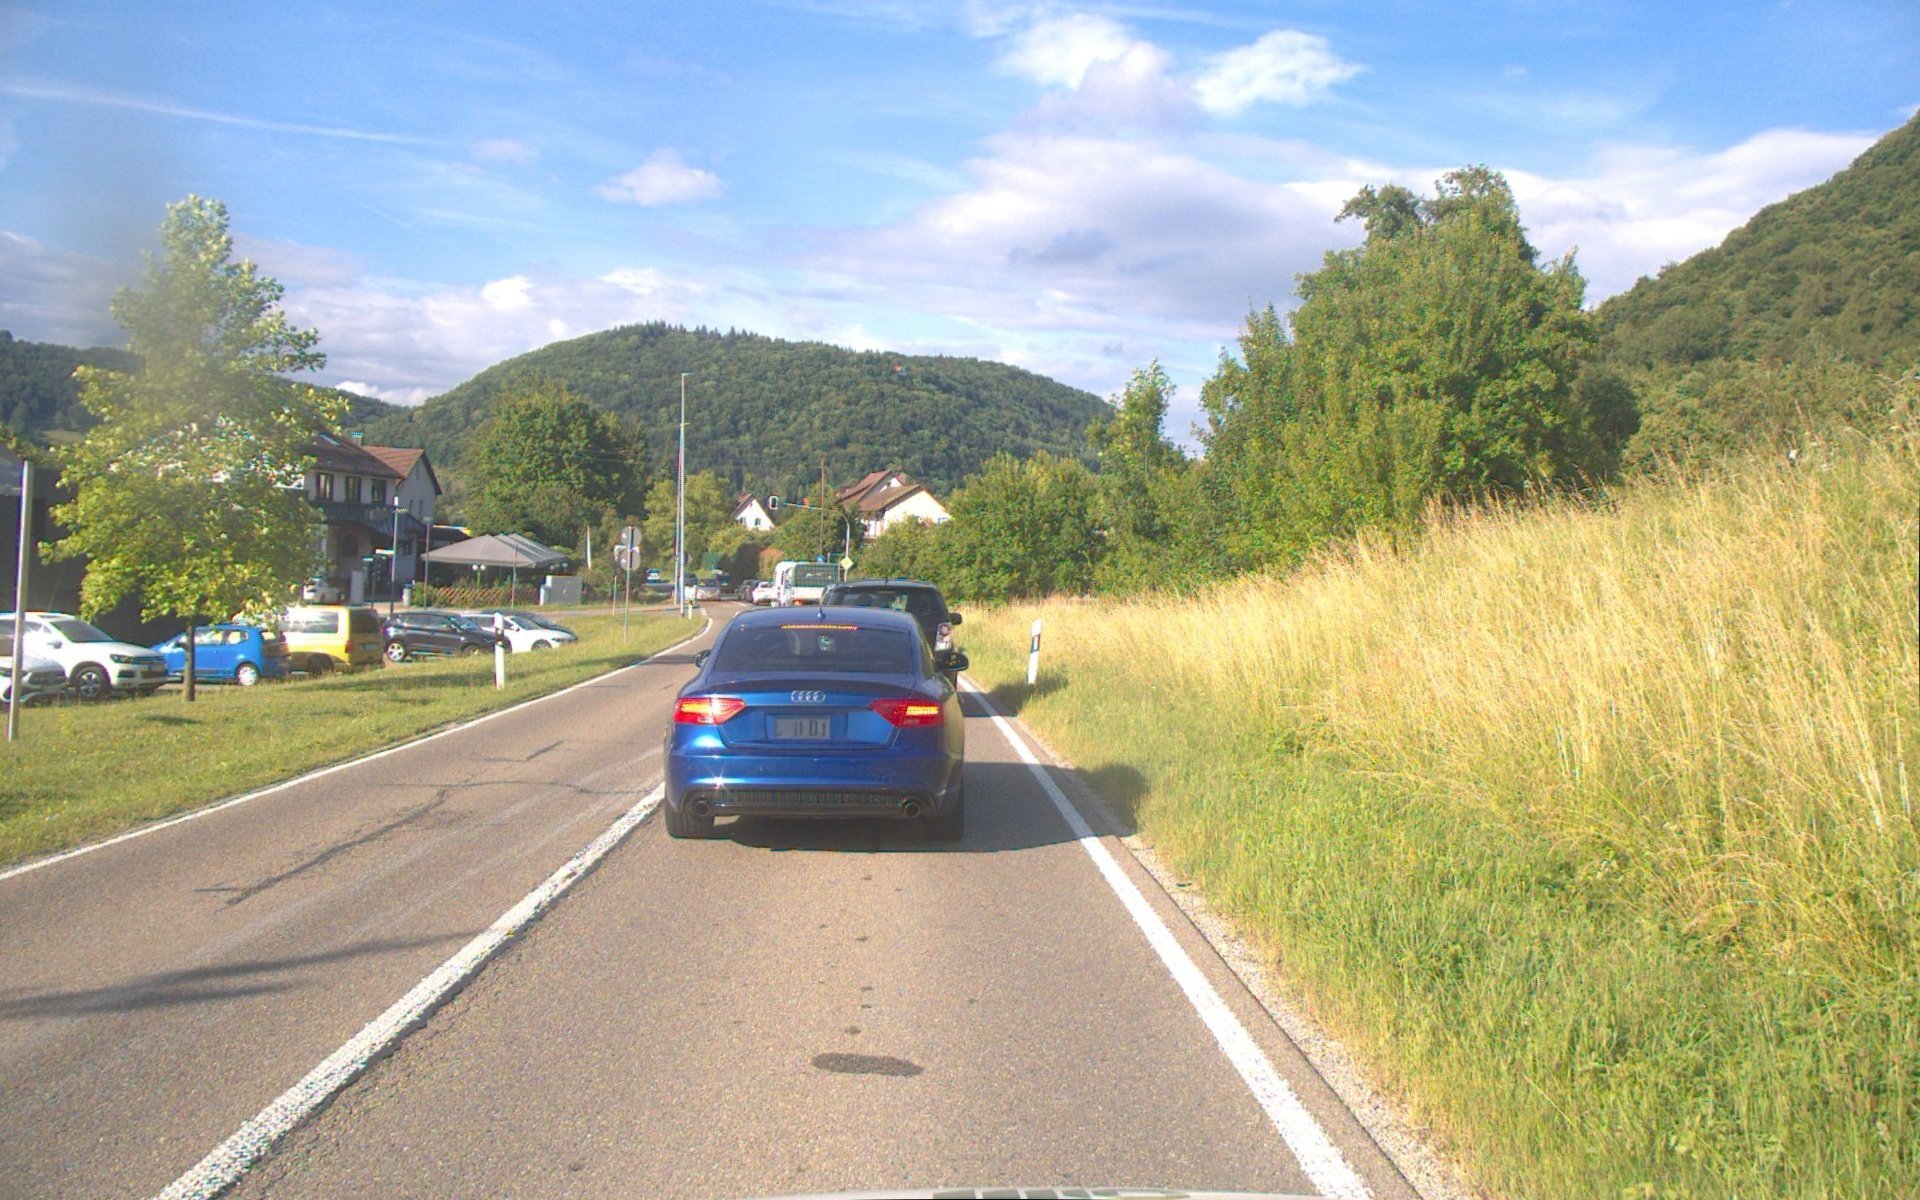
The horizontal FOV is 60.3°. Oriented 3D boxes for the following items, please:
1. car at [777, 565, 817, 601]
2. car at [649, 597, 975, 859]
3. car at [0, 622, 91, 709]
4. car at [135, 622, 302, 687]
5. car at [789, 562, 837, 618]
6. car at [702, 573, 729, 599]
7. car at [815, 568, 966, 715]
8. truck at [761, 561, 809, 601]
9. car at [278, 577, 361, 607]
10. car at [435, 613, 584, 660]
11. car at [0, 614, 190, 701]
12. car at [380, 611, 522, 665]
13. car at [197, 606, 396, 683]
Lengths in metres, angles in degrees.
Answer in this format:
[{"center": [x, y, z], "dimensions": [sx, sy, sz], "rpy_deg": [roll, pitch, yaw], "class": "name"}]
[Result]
[{"center": [-8.032, -0.820, 81.332], "dimensions": [1.714, 1.668, 3.992], "rpy_deg": [1, 0, -9], "class": "car"}, {"center": [-0.819, 0.702, 10.964], "dimensions": [1.759, 1.412, 3.999], "rpy_deg": [0, 0, -1], "class": "car"}, {"center": [-19.732, 1.232, 32.353], "dimensions": [4.442, 1.582, 2.001], "rpy_deg": [1, 0, 7], "class": "car"}, {"center": [-18.549, 1.345, 41.475], "dimensions": [3.420, 1.498, 1.634], "rpy_deg": [1, 0, 5], "class": "car"}, {"center": [-6.192, -0.410, 69.189], "dimensions": [1.714, 2.234, 3.992], "rpy_deg": [1, 0, -9], "class": "car"}, {"center": [-16.557, -0.954, 111.927], "dimensions": [1.703, 1.691, 3.463], "rpy_deg": [1, 0, -10], "class": "car"}, {"center": [-0.816, 0.484, 21.114], "dimensions": [1.710, 1.668, 3.999], "rpy_deg": [1, 0, -1], "class": "car"}, {"center": [-9.180, -0.937, 86.462], "dimensions": [1.669, 1.988, 5.901], "rpy_deg": [1, 0, -14], "class": "truck"}, {"center": [-32.745, -0.408, 84.662], "dimensions": [1.727, 1.467, 4.001], "rpy_deg": [1, 0, 19], "class": "car"}, {"center": [-15.936, 1.270, 58.624], "dimensions": [4.711, 1.520, 1.882], "rpy_deg": [1, 0, 7], "class": "car"}, {"center": [-19.363, 1.217, 35.832], "dimensions": [4.442, 1.733, 2.001], "rpy_deg": [1, 0, 7], "class": "car"}, {"center": [-16.606, 1.215, 54.073], "dimensions": [3.939, 1.665, 2.001], "rpy_deg": [1, 0, 7], "class": "car"}, {"center": [-17.650, 1.160, 44.082], "dimensions": [4.512, 1.900, 2.002], "rpy_deg": [1, 0, 10], "class": "car"}]
